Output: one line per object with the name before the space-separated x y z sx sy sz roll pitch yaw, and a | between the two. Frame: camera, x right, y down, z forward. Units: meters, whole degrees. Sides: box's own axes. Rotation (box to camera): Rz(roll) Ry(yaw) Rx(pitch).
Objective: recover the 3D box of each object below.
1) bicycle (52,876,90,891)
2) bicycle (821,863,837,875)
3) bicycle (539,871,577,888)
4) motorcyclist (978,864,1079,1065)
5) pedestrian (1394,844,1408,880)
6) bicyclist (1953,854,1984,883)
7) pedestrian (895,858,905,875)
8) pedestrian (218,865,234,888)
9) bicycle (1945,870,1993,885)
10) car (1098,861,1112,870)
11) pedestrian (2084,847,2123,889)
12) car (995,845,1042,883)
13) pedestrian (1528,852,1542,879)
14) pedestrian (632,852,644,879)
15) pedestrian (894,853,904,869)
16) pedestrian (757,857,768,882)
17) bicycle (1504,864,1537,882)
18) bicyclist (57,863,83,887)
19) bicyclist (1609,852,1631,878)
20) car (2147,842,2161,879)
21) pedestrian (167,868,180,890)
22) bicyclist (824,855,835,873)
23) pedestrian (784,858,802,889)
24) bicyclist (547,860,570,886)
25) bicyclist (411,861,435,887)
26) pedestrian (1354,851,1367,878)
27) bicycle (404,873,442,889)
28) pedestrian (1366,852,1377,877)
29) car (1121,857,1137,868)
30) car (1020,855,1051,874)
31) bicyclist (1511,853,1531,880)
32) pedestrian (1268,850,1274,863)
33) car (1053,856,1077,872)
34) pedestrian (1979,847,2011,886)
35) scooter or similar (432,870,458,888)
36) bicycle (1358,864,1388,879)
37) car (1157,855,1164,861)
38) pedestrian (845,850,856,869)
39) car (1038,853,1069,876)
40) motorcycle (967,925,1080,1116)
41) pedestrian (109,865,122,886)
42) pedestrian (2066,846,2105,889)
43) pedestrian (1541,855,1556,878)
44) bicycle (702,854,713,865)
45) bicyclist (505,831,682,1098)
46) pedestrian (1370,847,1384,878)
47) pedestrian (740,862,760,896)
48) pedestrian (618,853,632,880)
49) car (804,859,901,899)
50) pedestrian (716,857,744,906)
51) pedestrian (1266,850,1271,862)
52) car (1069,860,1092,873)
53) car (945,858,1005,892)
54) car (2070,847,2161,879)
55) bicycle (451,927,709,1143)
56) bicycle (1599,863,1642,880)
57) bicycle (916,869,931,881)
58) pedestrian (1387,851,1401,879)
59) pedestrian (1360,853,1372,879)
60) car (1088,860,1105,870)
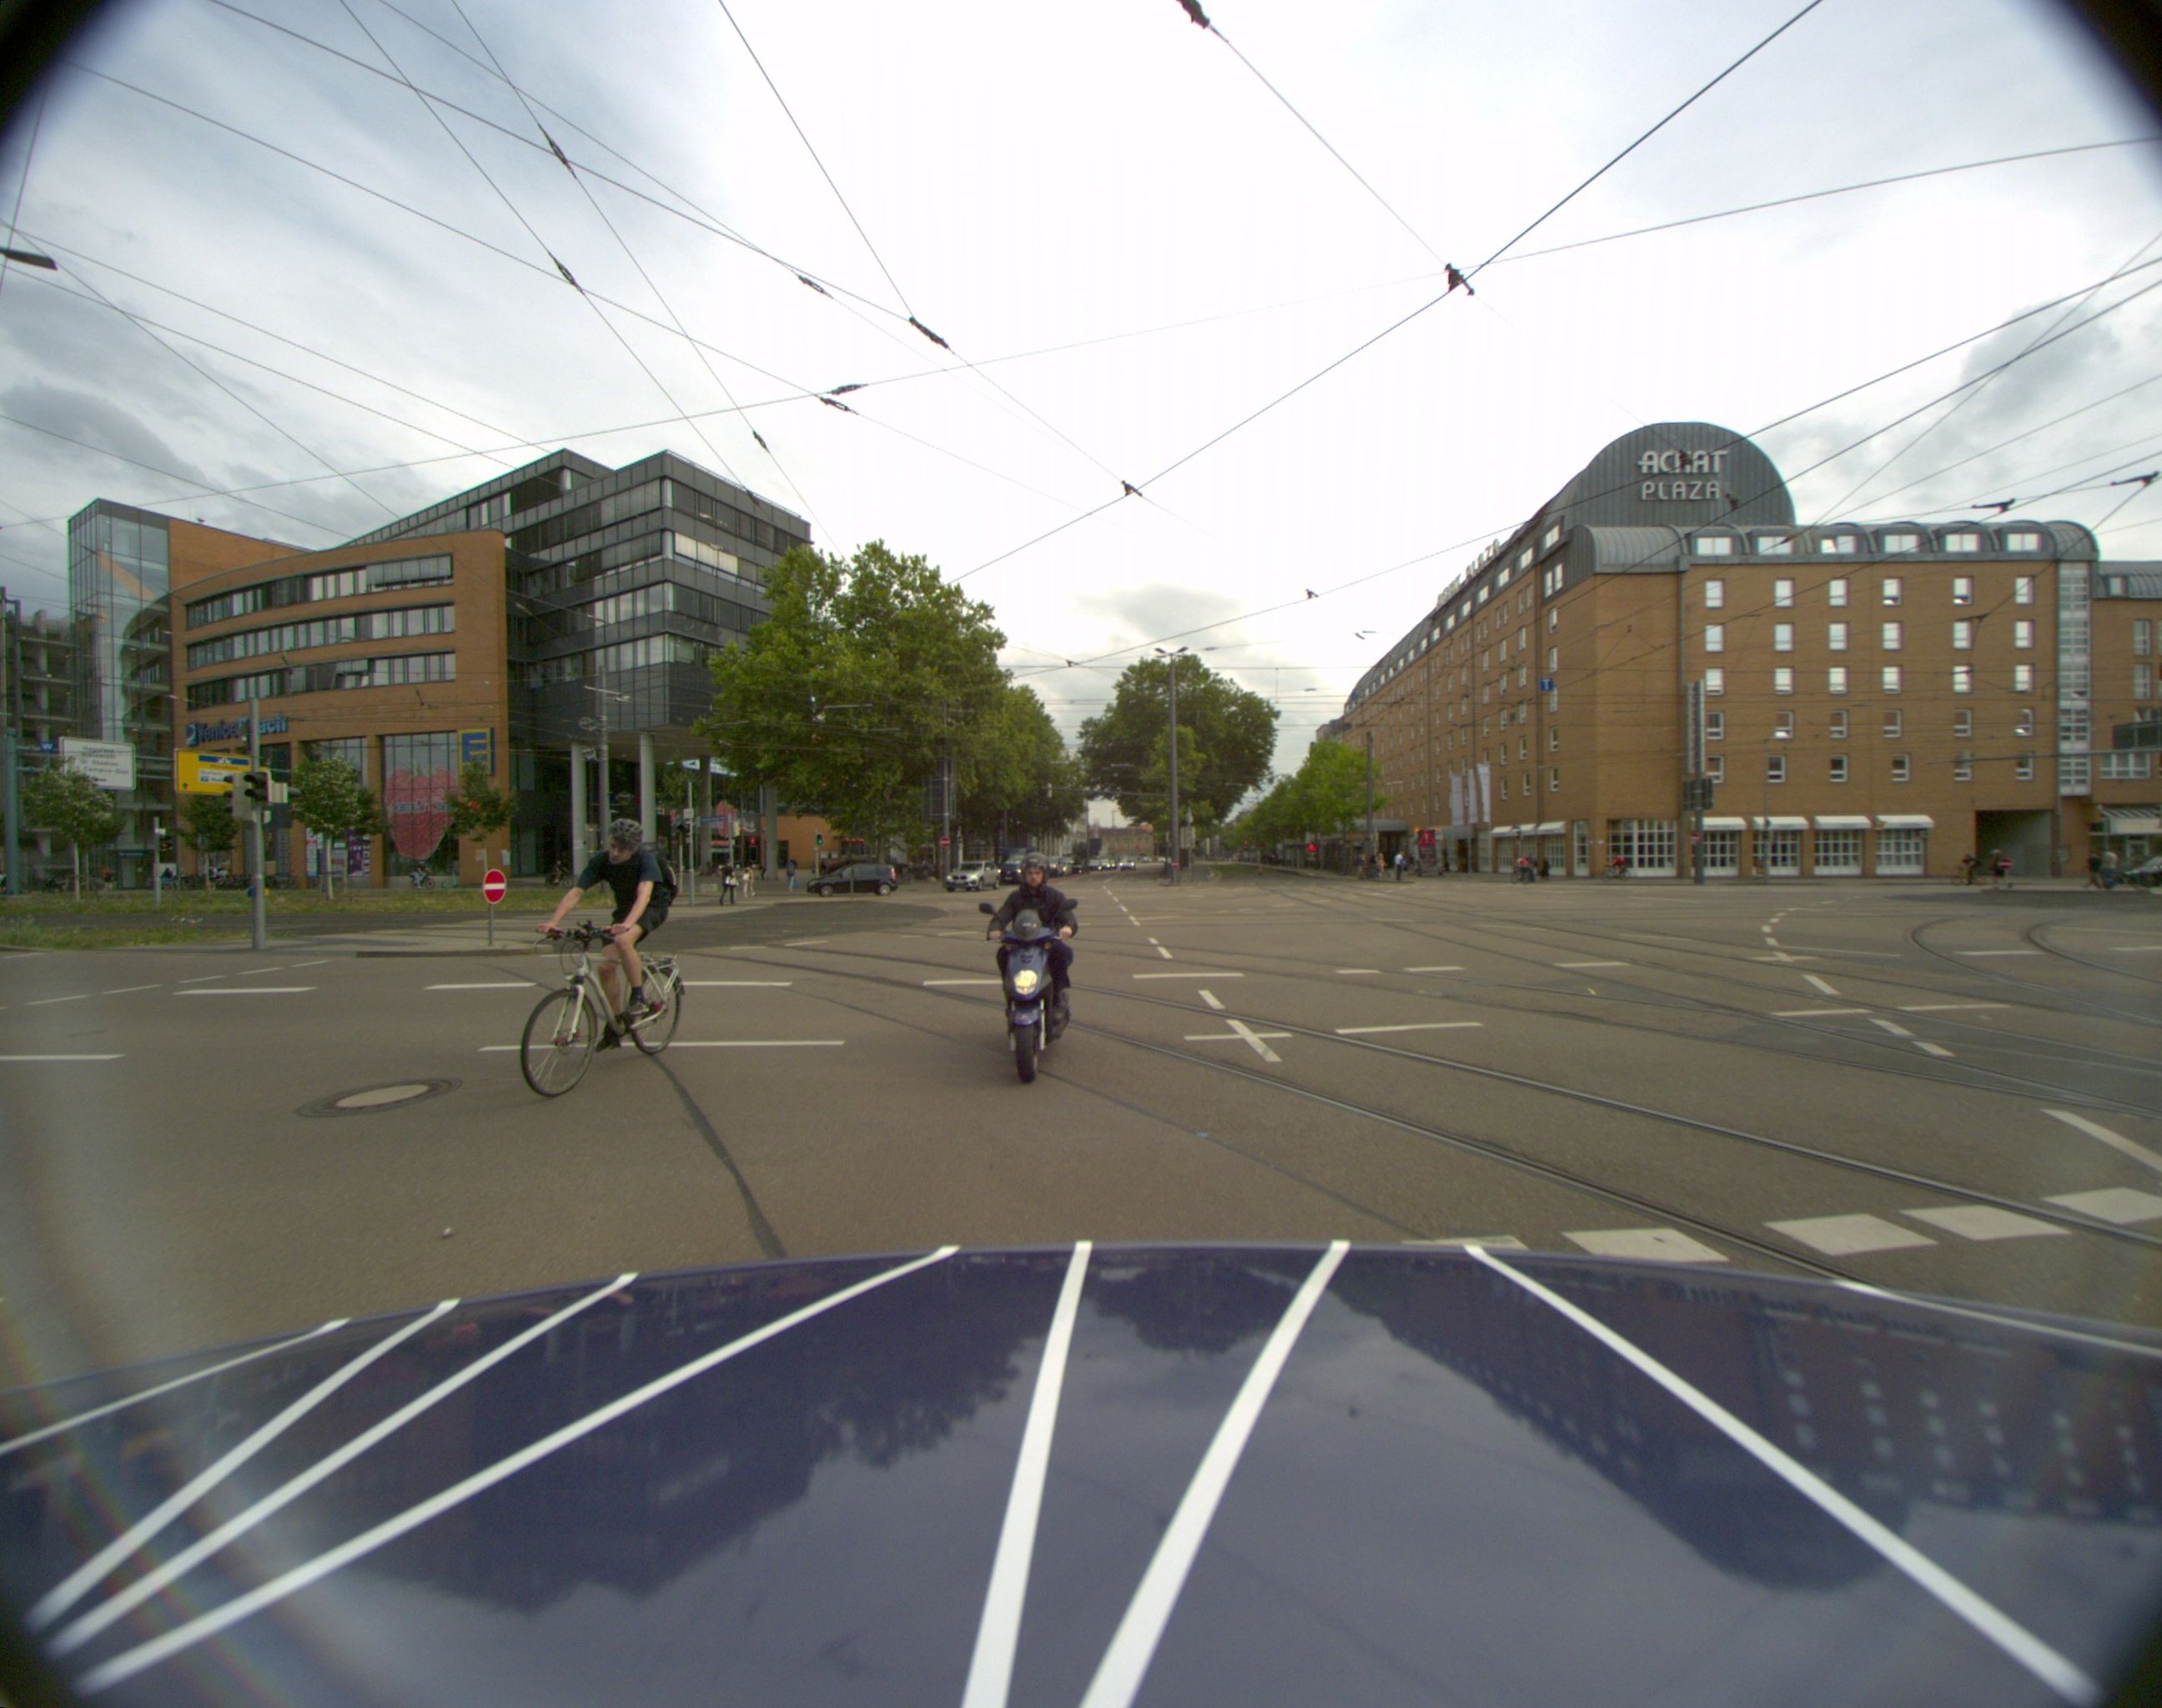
bicycle | -68.026 1.962 51.158 2.002 1.005 0.638 0 0 8
bicycle | -20.378 1.242 61.467 0.535 0.911 1.542 0 1 12
bicycle | -31.562 1.560 45.860 2.002 1.005 0.638 0 0 9
motorcyclist | -0.408 0.855 6.337 0.761 1.510 1.017 0 1 -1
pedestrian | 19.223 0.470 45.617 0.564 2.118 0.534 -1 1 -7
bicyclist | 46.357 0.758 39.682 0.865 1.492 0.636 -1 0 -1
pedestrian | -16.080 1.093 67.620 0.587 1.502 0.683 0 2 13
pedestrian | -60.675 1.585 53.901 0.446 1.590 0.617 0 1 25
bicycle | 46.392 1.219 39.696 1.796 0.777 0.640 0 1 -1
car | 3.391 1.657 108.676 1.574 1.270 3.734 0 1 8
pedestrian | 42.018 0.564 31.230 0.578 1.722 0.750 -1 1 -5
car | -4.294 0.634 53.422 2.174 2.441 6.999 -1 0 5
pedestrian | 28.209 0.715 47.205 0.563 1.696 0.535 0 1 1
pedestrian | -30.570 0.793 52.445 0.513 1.855 0.547 0 0 35
pedestrian | -17.754 0.701 74.113 0.586 1.502 0.683 0 2 25
pedestrian | -23.945 1.164 57.200 0.545 1.855 0.515 0 0 29
bicycle | 24.544 1.072 42.453 0.659 0.931 1.892 0 1 -3
bicyclist | -68.093 1.416 51.165 0.977 1.606 0.638 0 0 8
bicyclist | 32.271 0.653 45.464 0.864 1.492 0.637 0 1 6
car | 50.763 0.271 33.873 3.997 1.674 1.800 0 1 -1
pedestrian | -65.984 1.824 55.250 0.446 1.590 0.486 0 1 25
bicyclist | -20.374 0.773 61.504 0.531 1.424 0.739 0 1 12
pedestrian | -16.122 1.079 42.547 0.587 1.722 0.744 0 1 10
bicyclist | -31.551 1.138 45.858 0.977 1.606 0.638 0 0 8
bicyclist | -40.804 1.252 47.121 0.977 1.607 0.638 0 1 8
pedestrian | 18.355 0.687 49.892 0.684 1.696 0.534 -1 1 -7
bicycle | -40.796 1.671 47.120 2.002 1.005 0.638 0 1 9
pedestrian | 20.036 0.735 52.392 0.564 1.696 0.534 -1 1 -7
car | 6.037 1.110 96.202 1.845 1.369 3.836 -1 -1 6
car | -3.650 0.829 61.382 1.756 1.410 4.276 0 1 6
bicyclist | 24.542 0.678 42.371 0.651 1.492 0.817 0 1 -3
pedestrian | 24.465 0.315 97.660 0.648 1.696 0.624 0 0 6
car | -1.618 1.014 76.660 1.914 1.533 4.094 0 0 6
pedestrian | 41.100 0.553 34.170 0.578 1.721 0.751 -1 0 -5
scooter or similar | -41.240 1.616 49.252 1.472 1.160 0.486 0 1 14
bicycle | 18.464 1.117 48.074 1.710 0.884 0.499 0 1 4
car | 23.010 1.199 219.849 1.668 1.699 3.999 0 1 0
pedestrian | -20.459 0.486 67.532 0.586 1.722 0.745 1 2 45
car | -2.464 0.929 69.448 1.997 2.002 5.439 0 0 6
motorcycle | -0.407 1.260 6.383 0.769 1.101 2.207 0 1 0
pedestrian | -72.372 1.595 56.976 0.484 1.590 0.447 0 0 18
pedestrian | 41.019 0.547 31.030 0.578 1.722 0.750 -1 1 -5
pedestrian | 30.284 0.811 49.254 0.536 1.498 0.648 -1 1 -33
bicycle | -29.513 0.425 59.979 0.537 0.911 1.560 -1 1 -36
bicyclist | -3.483 0.732 5.525 0.591 1.760 1.035 0 0 2
pedestrian | 18.548 0.530 47.655 0.693 1.940 0.534 0 1 -1
pedestrian | -16.468 1.240 37.849 0.587 1.642 0.744 0 1 10
pedestrian | -31.606 0.856 52.629 0.671 1.855 0.627 0 0 41
car | -10.919 1.135 36.352 4.185 1.728 1.961 -1 0 -25
pedestrian | -13.006 1.026 28.131 0.678 1.781 0.669 0 1 3
pedestrian | 27.367 0.337 111.100 0.648 1.696 0.625 0 0 9
car | -0.045 1.380 85.164 1.997 1.270 4.002 0 1 8
car | -5.750 1.114 41.732 1.962 1.651 4.642 -2 0 9
car | 50.384 0.435 36.325 3.997 1.470 1.800 -1 0 -1
bicycle | -3.478 1.181 5.513 0.595 1.132 1.858 0 0 2
bicycle | 32.269 1.053 45.476 2.058 1.002 0.640 0 1 5
bicycle | -12.682 1.658 61.277 0.535 0.911 1.724 0 1 12
pedestrian | 19.270 0.665 46.814 0.564 1.696 0.578 -1 1 -7
pedestrian | 19.302 0.797 51.439 0.564 1.696 0.534 -1 1 -7
car | 2.061 1.441 101.494 1.711 1.270 4.002 0 1 8
